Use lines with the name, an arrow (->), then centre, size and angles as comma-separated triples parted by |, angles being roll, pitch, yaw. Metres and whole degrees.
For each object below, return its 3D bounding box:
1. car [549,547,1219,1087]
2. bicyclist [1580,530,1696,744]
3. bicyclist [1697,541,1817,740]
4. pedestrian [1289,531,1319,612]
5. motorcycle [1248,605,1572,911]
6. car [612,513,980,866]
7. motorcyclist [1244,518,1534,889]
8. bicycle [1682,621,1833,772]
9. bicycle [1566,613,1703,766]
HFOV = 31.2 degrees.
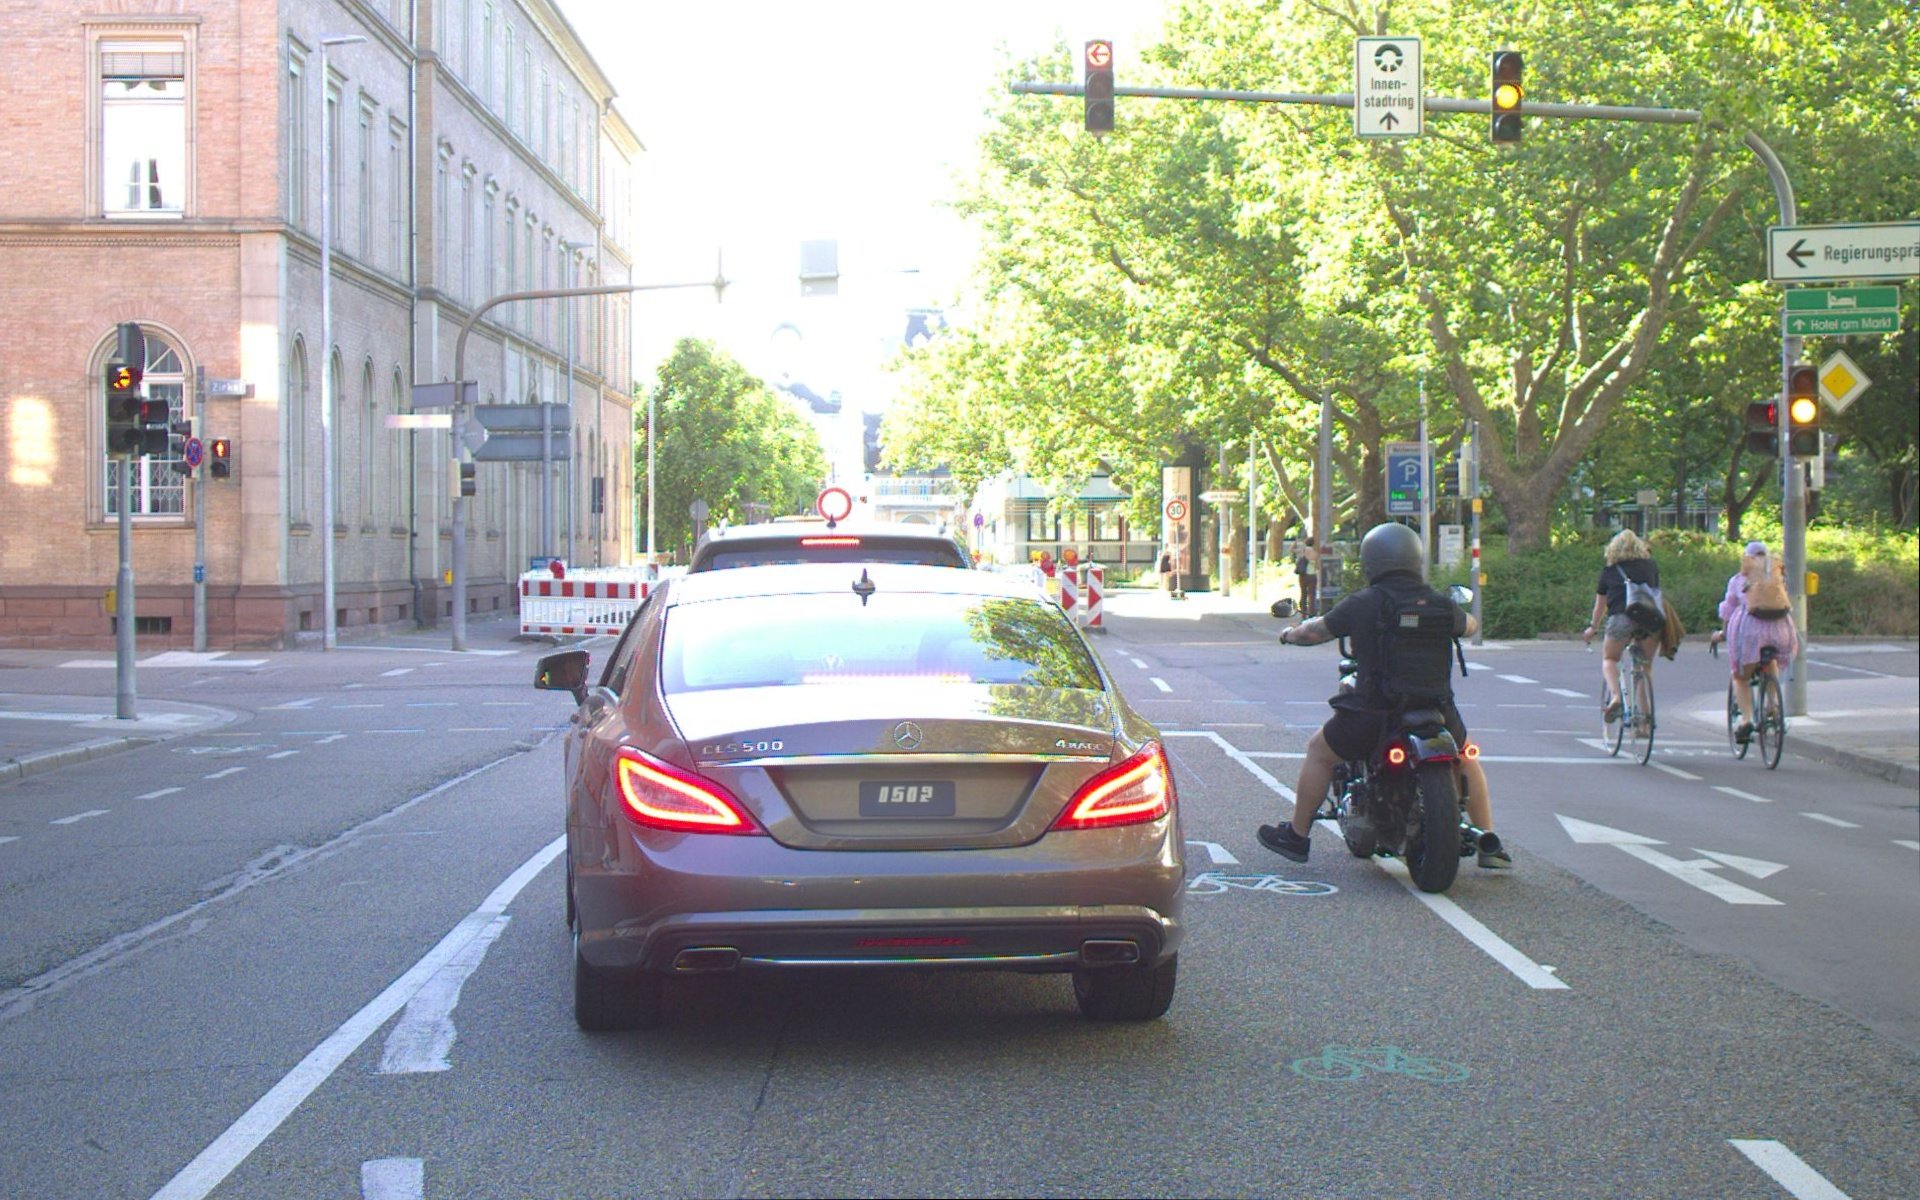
car -> -0.457, 0.558, 11.651 | 1.821, 1.471, 4.354 | 0, 1, -7
bicyclist -> 4.905, 0.257, 24.918 | 0.610, 1.511, 0.890 | 2, 1, -1
bicyclist -> 5.753, 0.280, 24.858 | 0.600, 1.397, 0.931 | 2, 1, -1
pedestrian -> 7.158, -0.594, 71.525 | 0.559, 1.672, 0.565 | 0, 1, -1
motorcycle -> 1.958, 0.652, 15.441 | 1.007, 1.200, 2.665 | 0, 1, -2
car -> -0.812, 0.380, 17.685 | 1.681, 1.619, 3.841 | 0, 1, -2
motorcyclist -> 1.910, 0.439, 15.499 | 1.113, 1.607, 1.202 | 0, 1, -2
bicycle -> 5.738, 0.676, 24.833 | 0.600, 0.981, 1.881 | 2, 1, -1
bicycle -> 4.893, 0.635, 25.040 | 0.610, 1.023, 1.731 | 2, 1, -1
